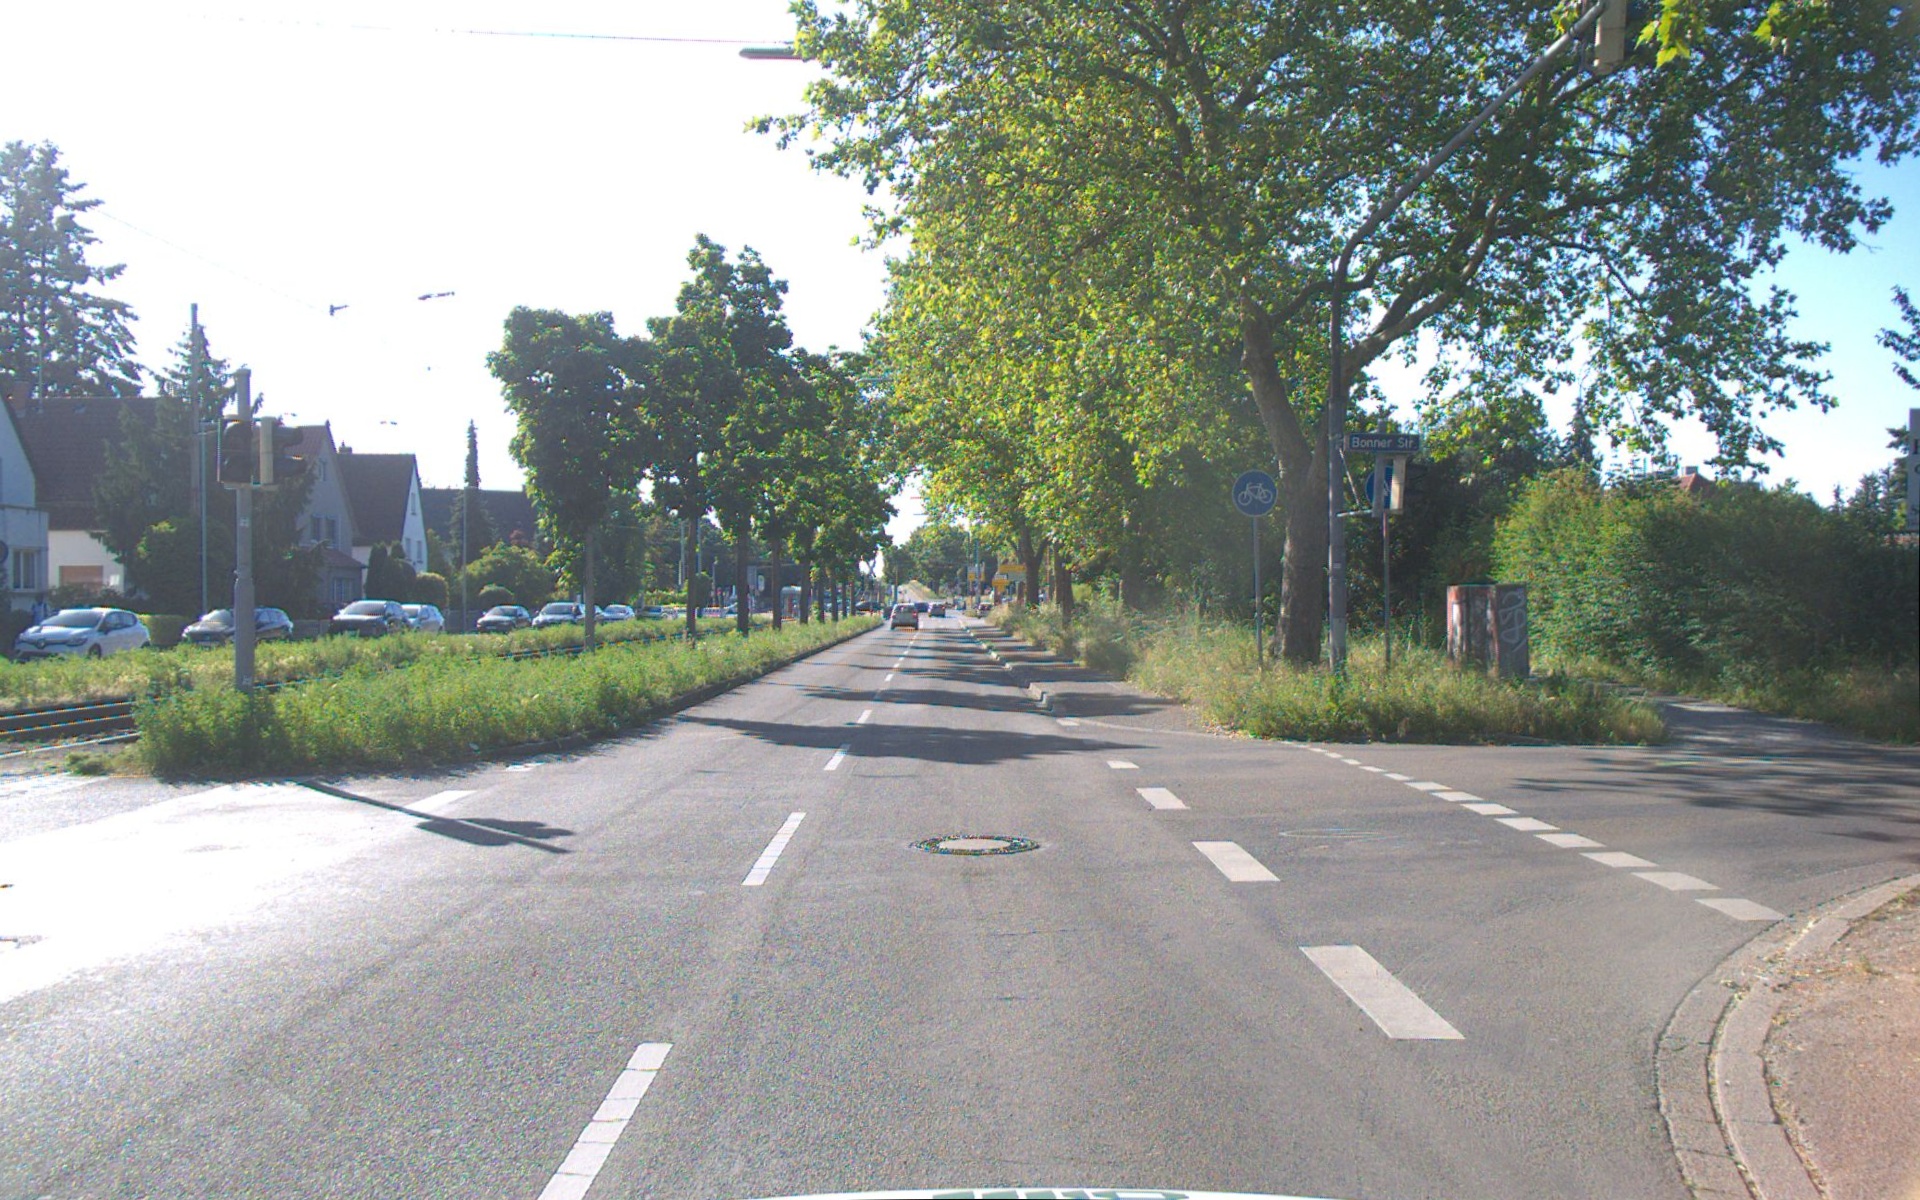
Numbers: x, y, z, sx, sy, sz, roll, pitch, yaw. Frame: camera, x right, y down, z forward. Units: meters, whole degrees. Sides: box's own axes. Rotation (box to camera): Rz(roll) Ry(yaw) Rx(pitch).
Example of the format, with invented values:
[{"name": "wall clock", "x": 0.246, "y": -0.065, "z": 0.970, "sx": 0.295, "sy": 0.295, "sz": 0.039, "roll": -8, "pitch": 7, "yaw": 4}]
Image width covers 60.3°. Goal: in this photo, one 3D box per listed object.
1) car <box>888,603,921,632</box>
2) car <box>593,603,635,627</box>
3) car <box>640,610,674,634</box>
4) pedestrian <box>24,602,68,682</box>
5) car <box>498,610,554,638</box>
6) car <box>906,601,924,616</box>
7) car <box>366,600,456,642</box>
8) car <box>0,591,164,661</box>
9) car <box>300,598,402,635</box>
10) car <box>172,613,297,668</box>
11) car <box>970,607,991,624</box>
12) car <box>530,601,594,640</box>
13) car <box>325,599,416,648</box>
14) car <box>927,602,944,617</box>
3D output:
[{"name": "car", "x": -3.185, "y": 1.001, "z": 95.375, "sx": 1.822, "sy": 1.629, "sz": 4.227, "roll": 1, "pitch": 0, "yaw": -1}, {"name": "car", "x": -22.546, "y": 0.966, "z": 107.889, "sx": 1.822, "sy": 1.456, "sz": 4.460, "roll": 1, "pitch": 0, "yaw": -1}, {"name": "car", "x": -22.491, "y": 1.639, "z": 122.842, "sx": 1.742, "sy": 1.737, "sz": 4.227, "roll": 1, "pitch": 0, "yaw": -1}, {"name": "pedestrian", "x": -23.699, "y": 1.088, "z": 42.896, "sx": 0.667, "sy": 2.049, "sz": 0.772, "roll": 1, "pitch": -1, "yaw": -1}, {"name": "car", "x": -22.247, "y": 1.222, "z": 84.895, "sx": 1.822, "sy": 1.393, "sz": 4.227, "roll": 1, "pitch": 0, "yaw": -1}, {"name": "car", "x": -5.001, "y": 0.963, "z": 183.660, "sx": 1.953, "sy": 1.631, "sz": 4.472, "roll": 1, "pitch": 0, "yaw": -1}, {"name": "car", "x": -21.702, "y": 0.825, "z": 65.571, "sx": 1.953, "sy": 1.572, "sz": 4.779, "roll": 1, "pitch": 0, "yaw": -1}, {"name": "car", "x": -21.193, "y": 0.609, "z": 40.070, "sx": 1.822, "sy": 1.569, "sz": 4.227, "roll": 1, "pitch": 0, "yaw": -1}, {"name": "car", "x": -27.287, "y": 0.727, "z": 74.181, "sx": 3.838, "sy": 1.478, "sz": 1.888, "roll": 1, "pitch": 1, "yaw": -1}, {"name": "car", "x": -21.303, "y": 1.160, "z": 48.771, "sx": 1.694, "sy": 1.491, "sz": 4.601, "roll": 1, "pitch": 0, "yaw": -1}, {"name": "car", "x": 2.042, "y": 1.575, "z": 166.210, "sx": 1.953, "sy": 1.631, "sz": 4.472, "roll": 1, "pitch": 0, "yaw": -1}, {"name": "car", "x": -16.852, "y": 0.861, "z": 70.293, "sx": 1.627, "sy": 1.579, "sz": 4.809, "roll": 1, "pitch": 0, "yaw": -1}, {"name": "car", "x": -21.373, "y": 0.849, "z": 60.165, "sx": 1.712, "sy": 1.679, "sz": 4.554, "roll": 1, "pitch": 0, "yaw": -1}, {"name": "car", "x": -2.638, "y": 1.067, "z": 178.294, "sx": 1.755, "sy": 1.586, "sz": 4.227, "roll": 1, "pitch": 0, "yaw": -1}]
